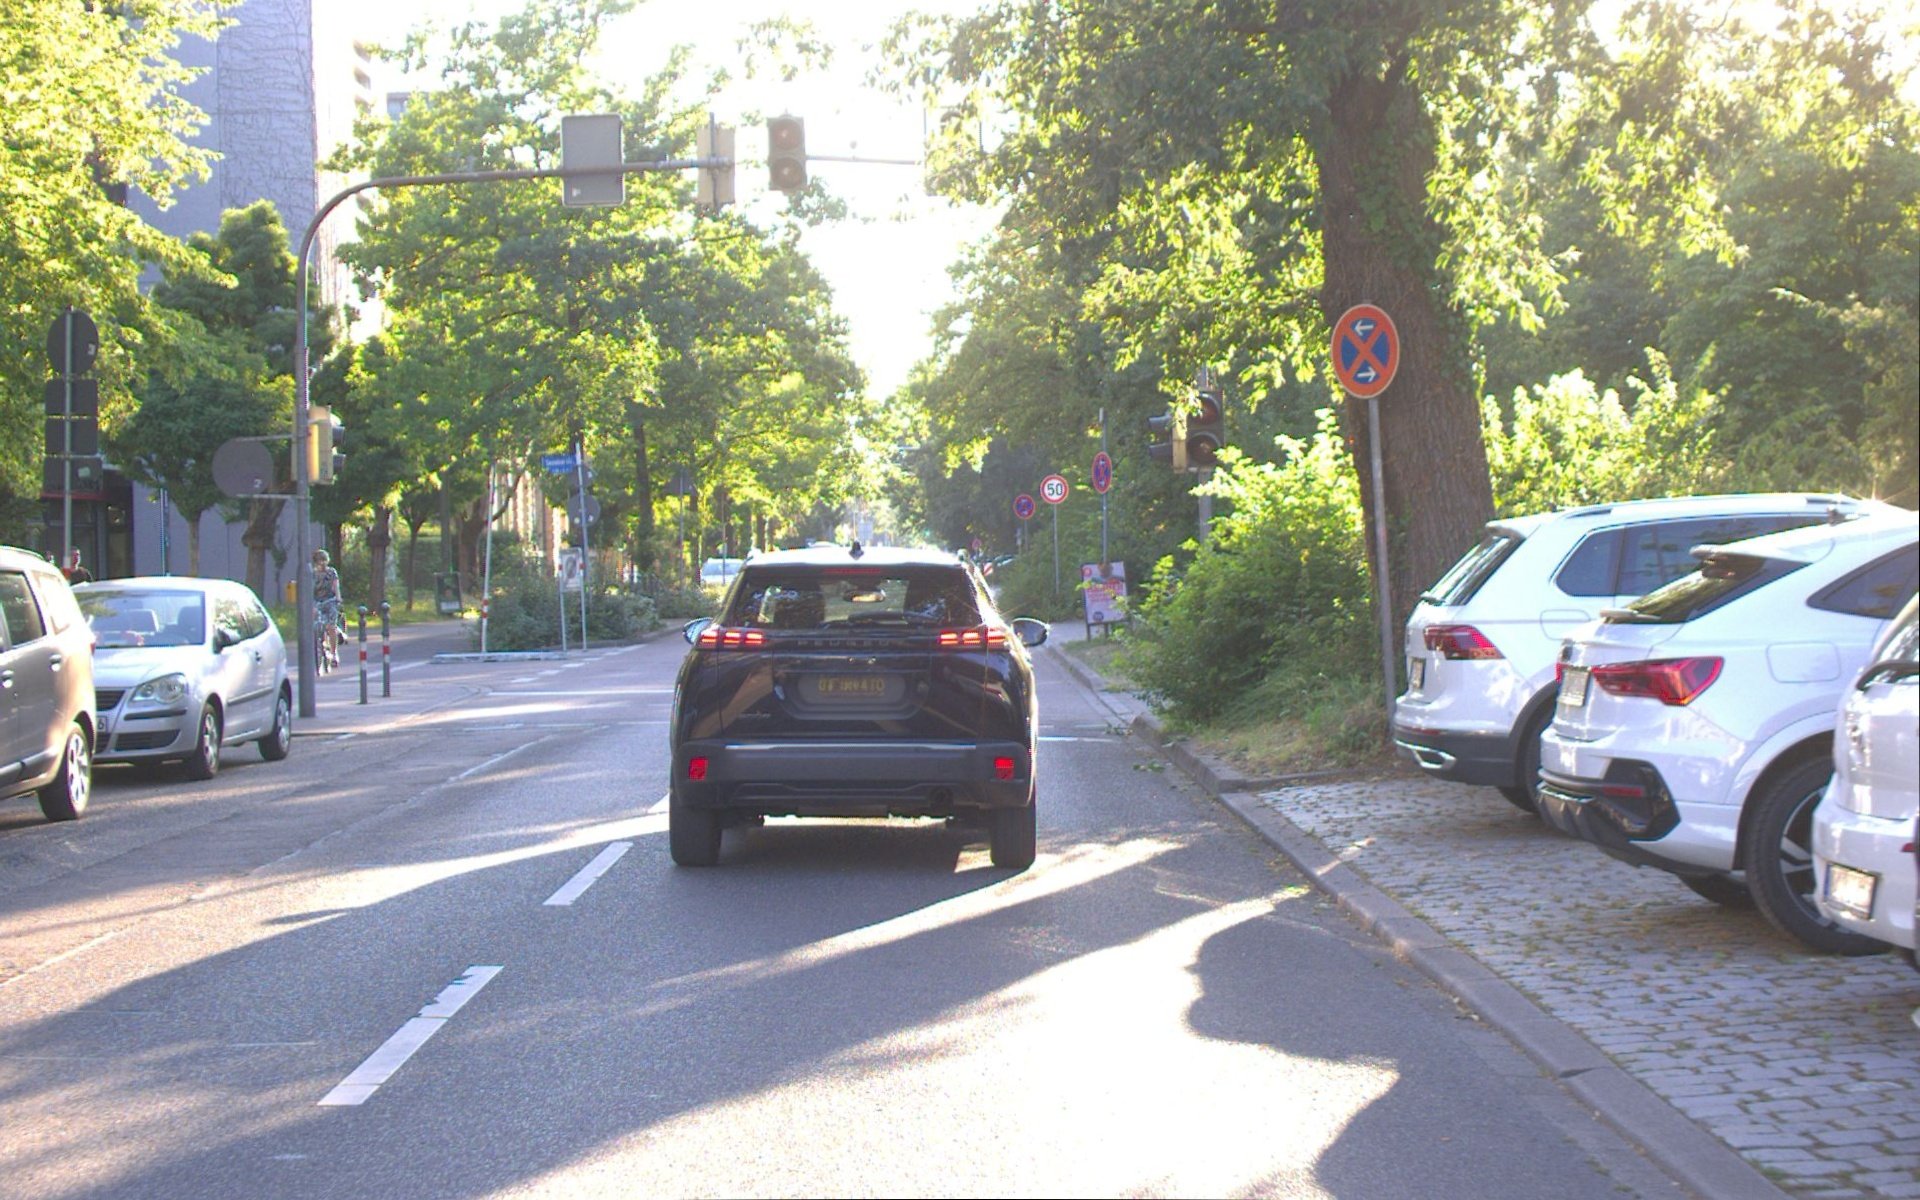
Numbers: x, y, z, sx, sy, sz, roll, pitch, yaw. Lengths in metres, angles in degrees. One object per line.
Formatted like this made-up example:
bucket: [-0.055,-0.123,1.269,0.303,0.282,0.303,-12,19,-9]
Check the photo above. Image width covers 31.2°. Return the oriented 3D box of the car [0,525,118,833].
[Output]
car: [-6.170,0.463,19.434,1.679,1.702,4.340,-2,1,0]

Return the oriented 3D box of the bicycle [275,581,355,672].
bicycle: [-9.092,0.359,48.531,0.686,1.245,2.192,0,0,1]

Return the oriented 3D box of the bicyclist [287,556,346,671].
bicyclist: [-9.085,0.187,48.526,0.675,1.598,0.706,0,0,2]

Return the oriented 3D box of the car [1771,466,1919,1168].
car: [4.016,0.444,8.107,3.744,1.589,1.697,-1,1,-2]

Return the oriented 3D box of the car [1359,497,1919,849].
car: [4.188,0.346,17.588,4.171,1.704,1.867,0,0,4]

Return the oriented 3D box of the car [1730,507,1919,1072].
car: [4.362,0.468,10.443,3.588,1.561,1.818,-1,1,-1]

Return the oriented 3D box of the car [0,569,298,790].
car: [-6.207,0.541,25.771,1.679,1.452,3.882,-2,1,0]

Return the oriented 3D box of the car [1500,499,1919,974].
car: [4.221,0.471,12.884,4.122,1.662,1.723,0,0,0]

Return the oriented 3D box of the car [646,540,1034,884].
car: [-0.565,0.491,17.472,1.768,1.563,3.381,0,1,-1]

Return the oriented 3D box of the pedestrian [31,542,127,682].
pedestrian: [-11.728,0.155,45.763,0.954,1.817,0.822,-2,1,-37]

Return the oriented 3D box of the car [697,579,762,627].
car: [-6.900,0.078,102.723,1.810,1.349,4.001,-1,1,-5]

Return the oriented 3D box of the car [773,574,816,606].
car: [-7.371,-0.449,152.868,1.810,1.349,4.001,-1,1,-4]

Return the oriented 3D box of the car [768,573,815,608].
car: [-7.012,-0.403,142.809,1.810,1.349,3.979,-1,1,-4]
